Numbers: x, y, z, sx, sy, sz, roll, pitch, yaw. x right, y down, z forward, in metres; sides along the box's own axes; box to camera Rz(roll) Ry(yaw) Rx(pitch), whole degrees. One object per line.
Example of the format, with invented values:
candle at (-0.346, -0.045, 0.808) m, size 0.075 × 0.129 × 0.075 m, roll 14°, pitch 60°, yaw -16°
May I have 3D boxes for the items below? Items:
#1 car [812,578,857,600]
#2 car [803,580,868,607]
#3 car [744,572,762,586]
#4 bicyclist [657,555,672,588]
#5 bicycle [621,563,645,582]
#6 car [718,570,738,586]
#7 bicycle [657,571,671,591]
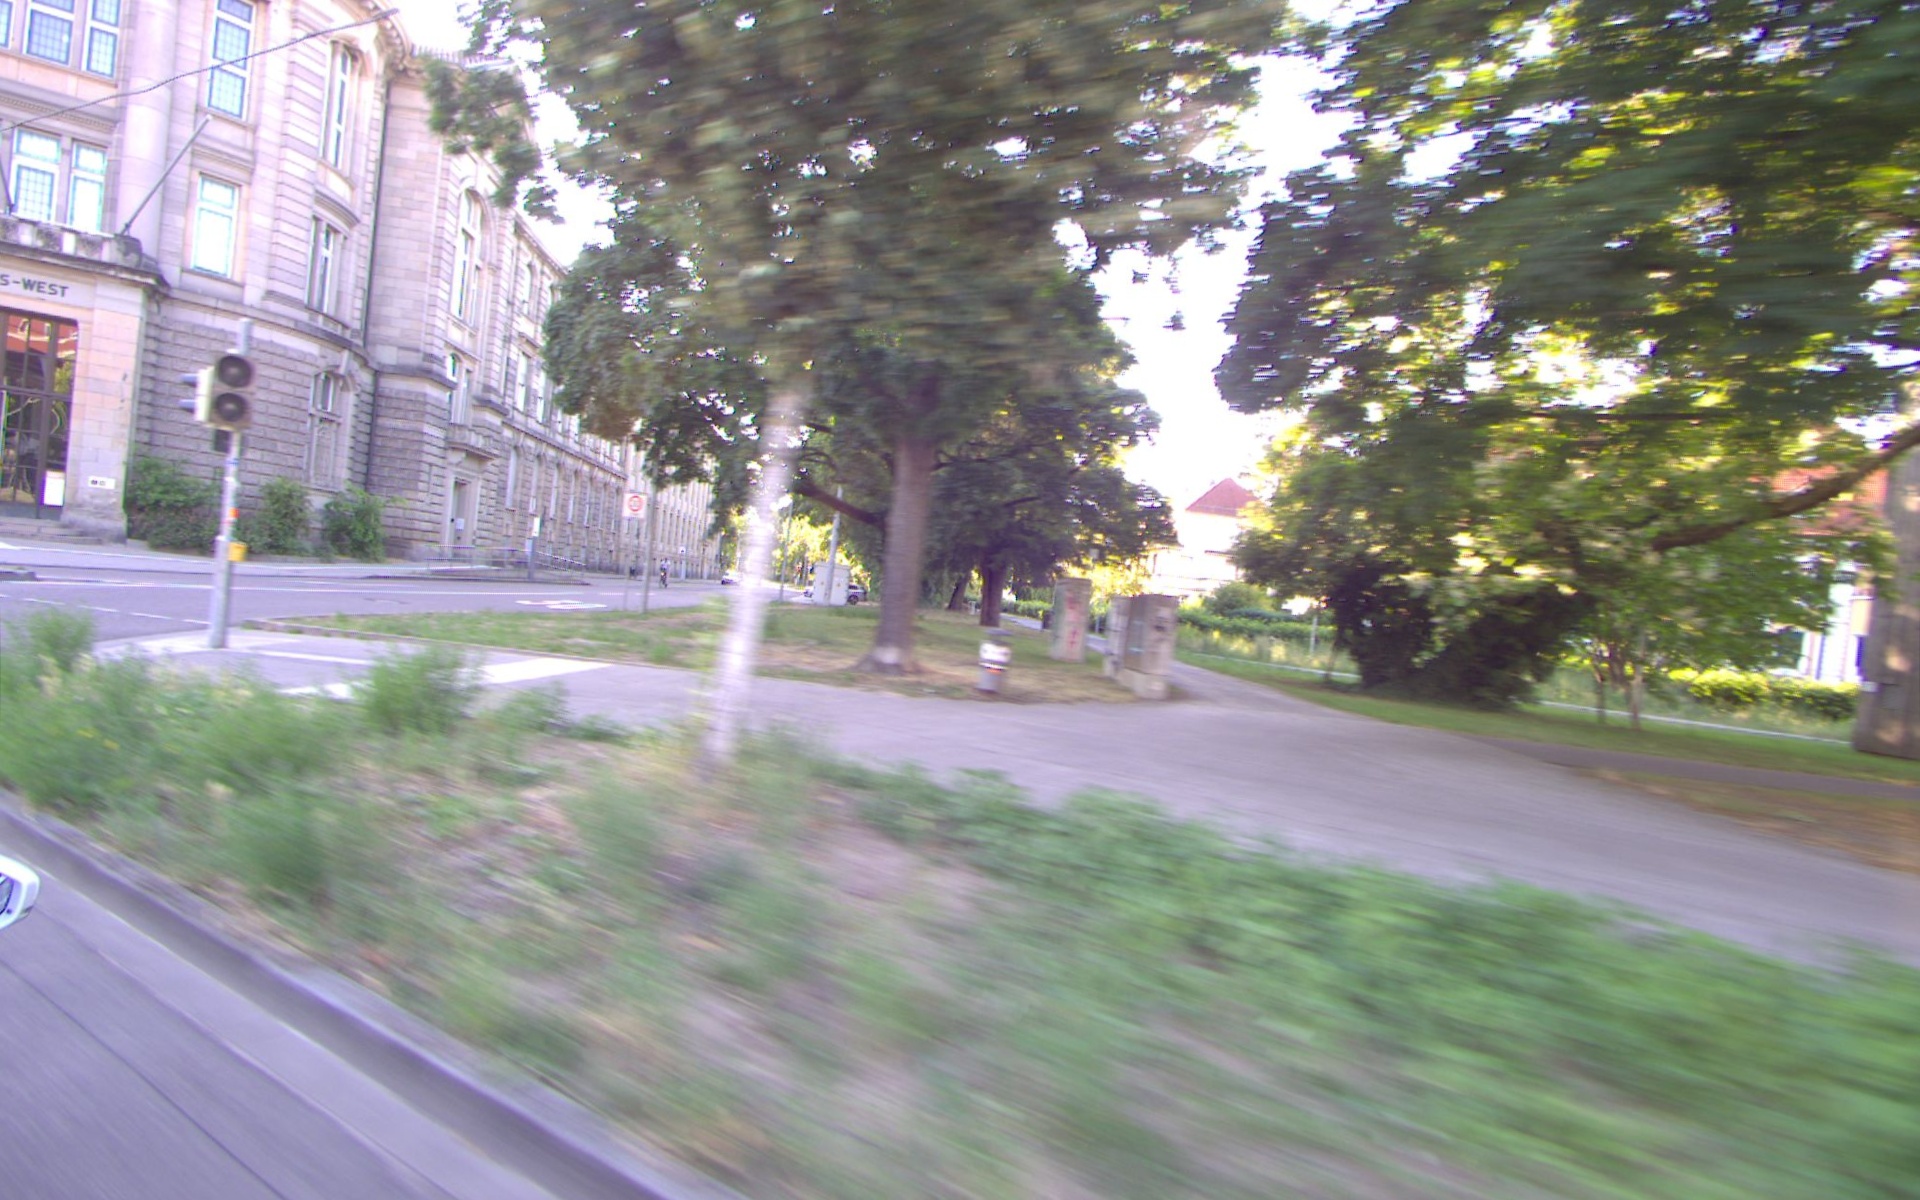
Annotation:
car at (-14.127, -1.231, 113.027) m, size 4.754 × 2.040 × 1.797 m, roll 5°, pitch 1°, yaw -13°
car at (-8.873, -0.457, 71.759) m, size 4.377 × 1.488 × 1.780 m, roll 5°, pitch 1°, yaw -8°
car at (-25.883, -2.582, 125.771) m, size 1.853 × 1.485 × 4.364 m, roll 6°, pitch 0°, yaw -9°
bicyclist at (-16.907, -1.615, 57.605) m, size 0.637 × 1.830 × 0.777 m, roll 5°, pitch 1°, yaw -18°
bicycle at (-21.158, -1.779, 65.188) m, size 0.840 × 1.115 × 1.981 m, roll 8°, pitch 0°, yaw -3°
car at (-24.979, -2.363, 108.332) m, size 1.703 × 1.414 × 4.365 m, roll 7°, pitch 0°, yaw -9°
bicycle at (-17.027, -1.100, 57.820) m, size 0.654 × 1.083 × 2.144 m, roll 5°, pitch 0°, yaw -18°
